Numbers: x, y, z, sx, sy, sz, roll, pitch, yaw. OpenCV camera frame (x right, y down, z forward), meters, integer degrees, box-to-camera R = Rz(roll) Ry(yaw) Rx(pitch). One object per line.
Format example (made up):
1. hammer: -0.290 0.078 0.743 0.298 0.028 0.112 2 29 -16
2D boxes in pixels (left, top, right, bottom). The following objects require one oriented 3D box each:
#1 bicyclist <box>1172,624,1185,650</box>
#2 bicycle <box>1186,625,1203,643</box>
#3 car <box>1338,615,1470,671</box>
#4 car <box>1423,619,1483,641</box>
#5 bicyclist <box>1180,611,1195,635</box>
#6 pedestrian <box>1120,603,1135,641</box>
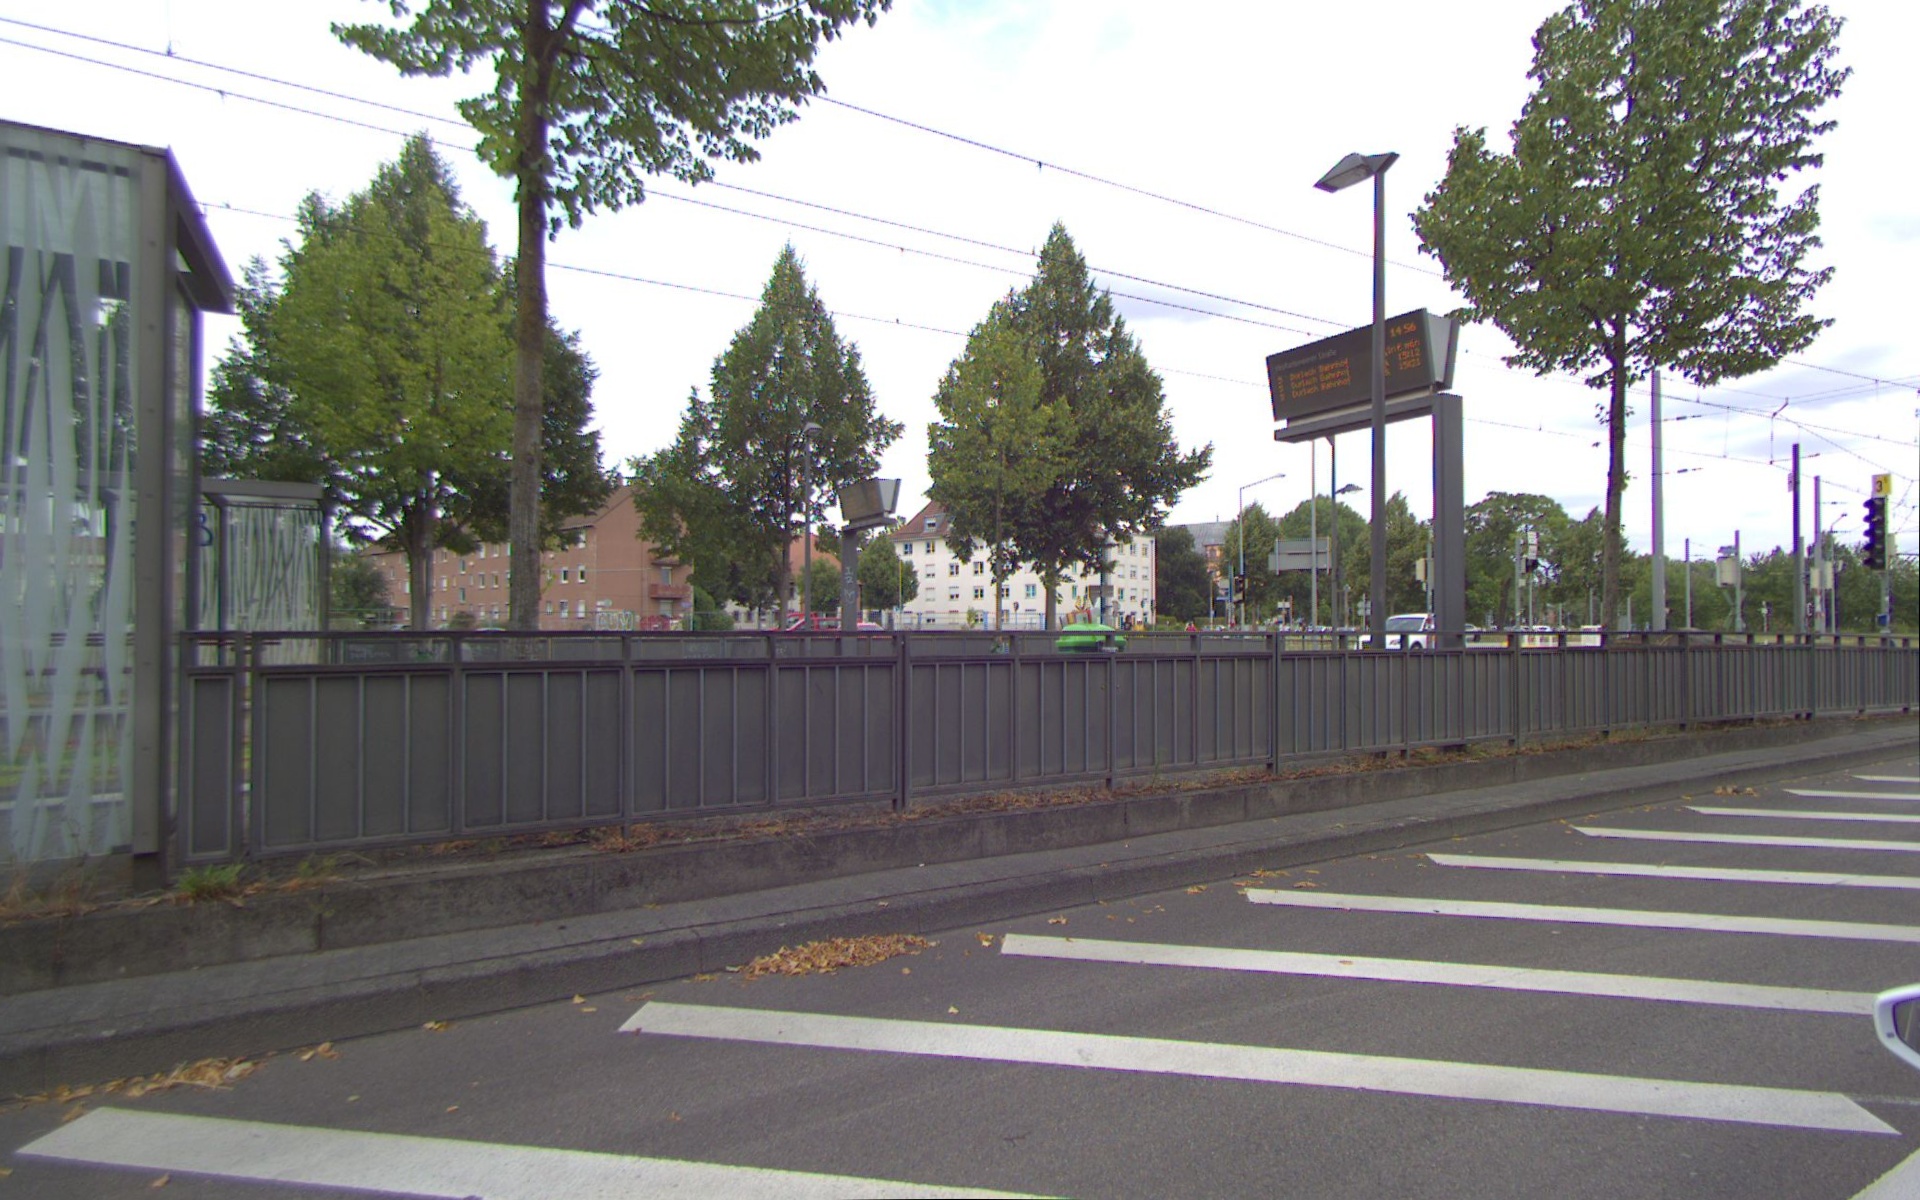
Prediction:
1. bicyclist: 16.141 2.724 74.158 0.815 1.859 0.783 0 -1 23
2. bicycle: 15.596 2.243 66.792 0.793 1.144 2.708 0 -1 19
3. car: 14.081 1.308 31.747 4.344 1.639 1.979 1 -1 -37
4. car: 39.400 2.383 80.344 3.928 1.663 1.997 0 -1 -10
5. bicyclist: 15.172 1.561 66.970 0.874 1.583 0.750 0 -1 24
6. pedestrian: 8.216 1.081 49.156 0.637 1.874 0.491 0 -1 22
